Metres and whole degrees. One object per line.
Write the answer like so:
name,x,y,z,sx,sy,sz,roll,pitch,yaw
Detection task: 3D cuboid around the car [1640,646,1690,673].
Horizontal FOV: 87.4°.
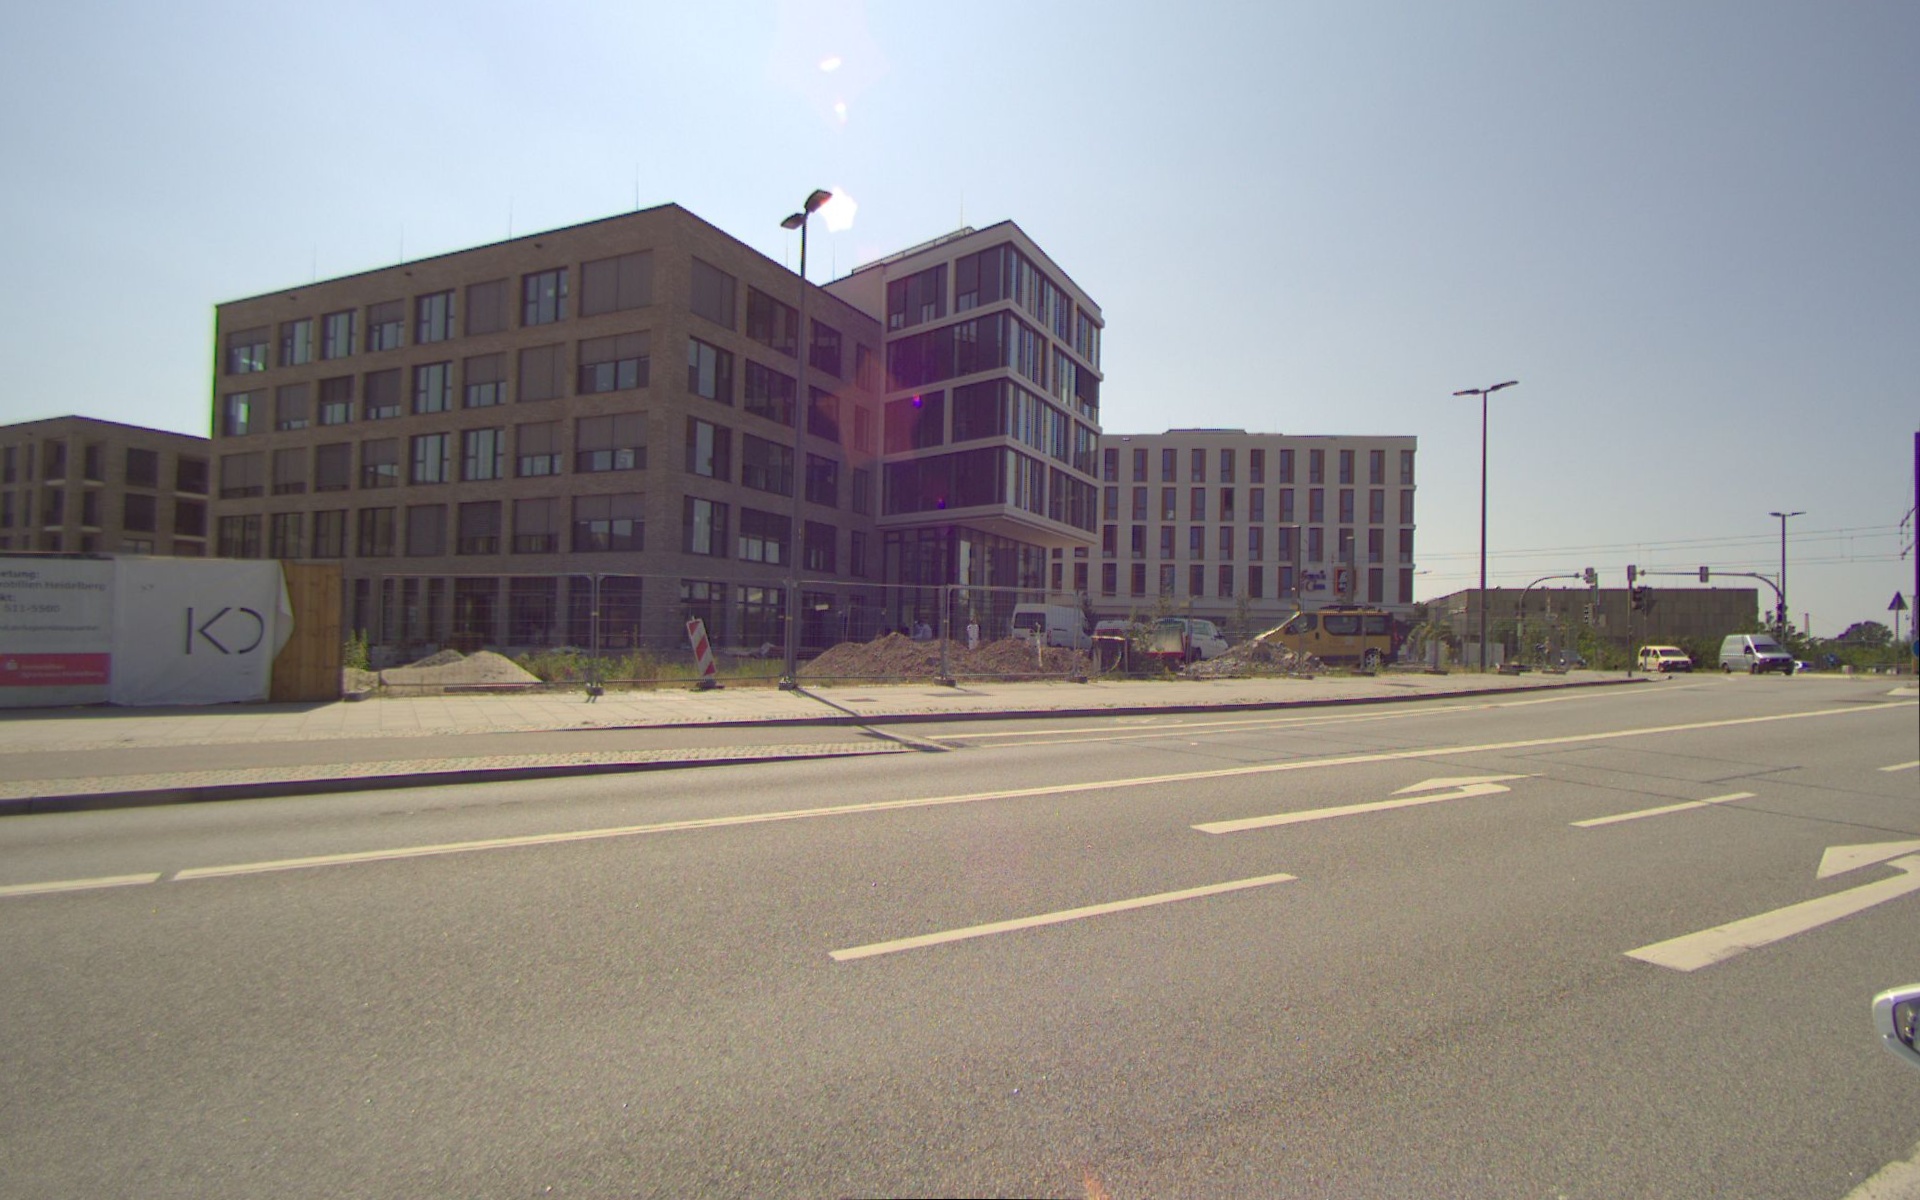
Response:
car,46.885,3.935,66.883,1.606,1.544,3.500,2,0,15

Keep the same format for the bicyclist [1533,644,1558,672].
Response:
bicyclist,34.769,3.445,59.628,0.848,1.581,0.823,2,2,-11

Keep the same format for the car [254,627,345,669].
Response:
car,-30.384,2.179,46.233,3.708,1.675,1.834,2,0,26

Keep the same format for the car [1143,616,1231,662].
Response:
car,9.567,1.619,42.101,1.969,1.730,4.546,2,0,35

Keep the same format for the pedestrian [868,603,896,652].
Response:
pedestrian,-3.388,1.184,43.456,0.949,2.040,0.940,2,0,-17

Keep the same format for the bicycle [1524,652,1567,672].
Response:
bicycle,34.787,3.693,59.720,0.715,1.148,2.529,2,-5,-10

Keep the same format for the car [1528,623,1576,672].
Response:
car,26.546,2.098,44.959,1.647,2.040,3.990,2,0,33

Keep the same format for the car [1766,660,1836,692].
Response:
car,61.784,5.585,73.873,1.960,2.040,4.002,1,-1,5

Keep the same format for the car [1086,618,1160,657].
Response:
car,7.136,1.604,43.697,1.773,1.528,3.991,2,0,31

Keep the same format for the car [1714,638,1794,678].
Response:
car,49.352,3.568,62.548,1.761,2.147,4.843,2,0,10

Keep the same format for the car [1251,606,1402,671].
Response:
car,12.228,1.256,33.746,4.395,1.915,2.001,2,0,8

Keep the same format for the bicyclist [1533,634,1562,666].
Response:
bicyclist,29.755,2.521,50.863,0.811,1.589,0.942,2,0,-25

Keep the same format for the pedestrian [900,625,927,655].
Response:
pedestrian,-2.196,1.884,47.471,1.099,1.391,0.742,2,0,-17

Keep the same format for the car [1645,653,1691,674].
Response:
car,65.363,5.845,92.812,1.796,1.666,4.212,2,0,10

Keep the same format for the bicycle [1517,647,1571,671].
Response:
bicycle,29.621,2.980,50.985,0.669,1.142,2.348,2,-1,-28

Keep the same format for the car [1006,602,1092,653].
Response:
car,4.012,1.227,44.679,2.175,2.083,4.164,2,0,30

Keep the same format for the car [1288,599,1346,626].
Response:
car,29.028,0.996,81.837,1.986,2.040,3.949,2,0,-43
